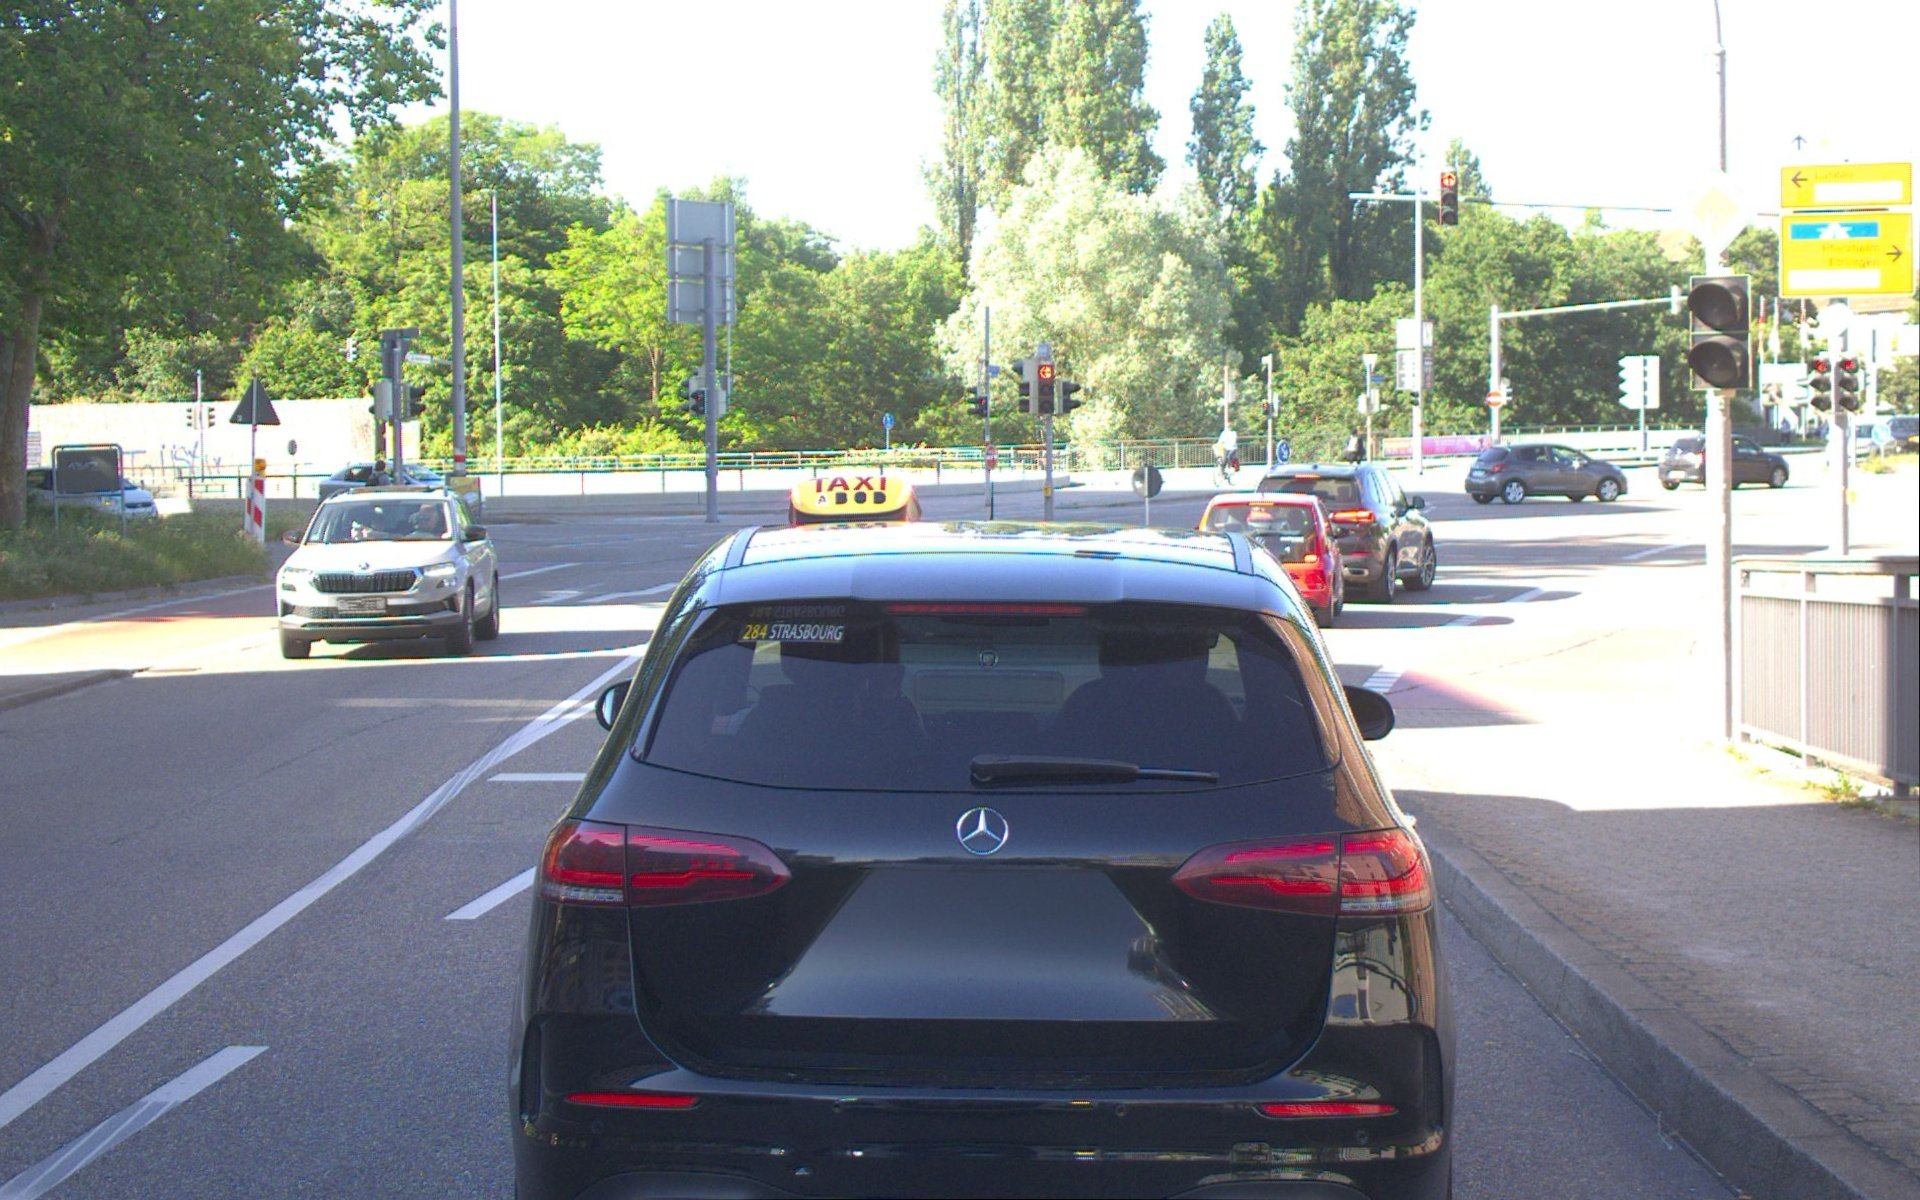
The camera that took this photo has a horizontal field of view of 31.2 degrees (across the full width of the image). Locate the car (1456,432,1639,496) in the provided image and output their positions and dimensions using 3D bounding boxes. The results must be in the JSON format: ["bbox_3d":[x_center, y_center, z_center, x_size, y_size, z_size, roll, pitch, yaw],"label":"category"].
[{"bbox_3d":[14.130,-3.253,82.757,3.986,1.492,1.745,0,1,-13],"label":"car"}]

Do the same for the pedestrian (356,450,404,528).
[{"bbox_3d":[-11.469,-2.198,67.995,0.705,1.520,0.743,1,2,10],"label":"pedestrian"}]

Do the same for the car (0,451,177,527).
[{"bbox_3d":[-19.932,-2.518,78.062,3.994,1.629,1.781,1,4,31],"label":"car"}]

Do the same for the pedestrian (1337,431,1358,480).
[{"bbox_3d":[12.696,-4.731,112.658,0.451,1.580,0.500,1,3,40],"label":"pedestrian"}]

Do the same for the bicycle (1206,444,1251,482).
[{"bbox_3d":[7.722,-3.931,98.747,0.526,1.046,1.987,-1,3,27],"label":"bicycle"}]

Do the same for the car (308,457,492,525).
[{"bbox_3d":[-13.562,-2.641,83.274,3.992,1.624,1.889,0,2,23],"label":"car"}]

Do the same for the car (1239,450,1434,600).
[{"bbox_3d":[4.988,-1.023,45.066,1.723,1.805,4.294,0,3,17],"label":"car"}]

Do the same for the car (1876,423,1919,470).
[{"bbox_3d":[33.572,-5.370,119.819,1.882,1.573,3.992,1,3,36],"label":"car"}]

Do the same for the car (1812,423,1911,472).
[{"bbox_3d":[30.081,-5.105,114.665,1.882,1.573,3.992,1,3,36],"label":"car"}]

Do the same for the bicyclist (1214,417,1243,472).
[{"bbox_3d":[7.718,-4.471,98.715,0.526,1.545,0.806,-1,2,27],"label":"bicyclist"}]

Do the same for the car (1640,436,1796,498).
[{"bbox_3d":[20.394,-3.566,92.487,3.987,1.542,1.891,0,1,-35],"label":"car"}]

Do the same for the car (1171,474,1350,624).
[{"bbox_3d":[3.486,-0.624,39.376,1.722,1.516,3.485,0,4,10],"label":"car"}]

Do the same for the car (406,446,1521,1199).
[{"bbox_3d":[-0.020,0.501,7.845,1.878,1.608,4.000,1,2,-1],"label":"car"}]

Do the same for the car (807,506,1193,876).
[{"bbox_3d":[0.225,0.351,16.662,1.640,1.524,3.474,-1,2,2],"label":"car"}]

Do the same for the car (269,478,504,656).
[{"bbox_3d":[-5.642,-0.378,34.229,1.804,1.618,4.001,-2,2,-3],"label":"car"}]
